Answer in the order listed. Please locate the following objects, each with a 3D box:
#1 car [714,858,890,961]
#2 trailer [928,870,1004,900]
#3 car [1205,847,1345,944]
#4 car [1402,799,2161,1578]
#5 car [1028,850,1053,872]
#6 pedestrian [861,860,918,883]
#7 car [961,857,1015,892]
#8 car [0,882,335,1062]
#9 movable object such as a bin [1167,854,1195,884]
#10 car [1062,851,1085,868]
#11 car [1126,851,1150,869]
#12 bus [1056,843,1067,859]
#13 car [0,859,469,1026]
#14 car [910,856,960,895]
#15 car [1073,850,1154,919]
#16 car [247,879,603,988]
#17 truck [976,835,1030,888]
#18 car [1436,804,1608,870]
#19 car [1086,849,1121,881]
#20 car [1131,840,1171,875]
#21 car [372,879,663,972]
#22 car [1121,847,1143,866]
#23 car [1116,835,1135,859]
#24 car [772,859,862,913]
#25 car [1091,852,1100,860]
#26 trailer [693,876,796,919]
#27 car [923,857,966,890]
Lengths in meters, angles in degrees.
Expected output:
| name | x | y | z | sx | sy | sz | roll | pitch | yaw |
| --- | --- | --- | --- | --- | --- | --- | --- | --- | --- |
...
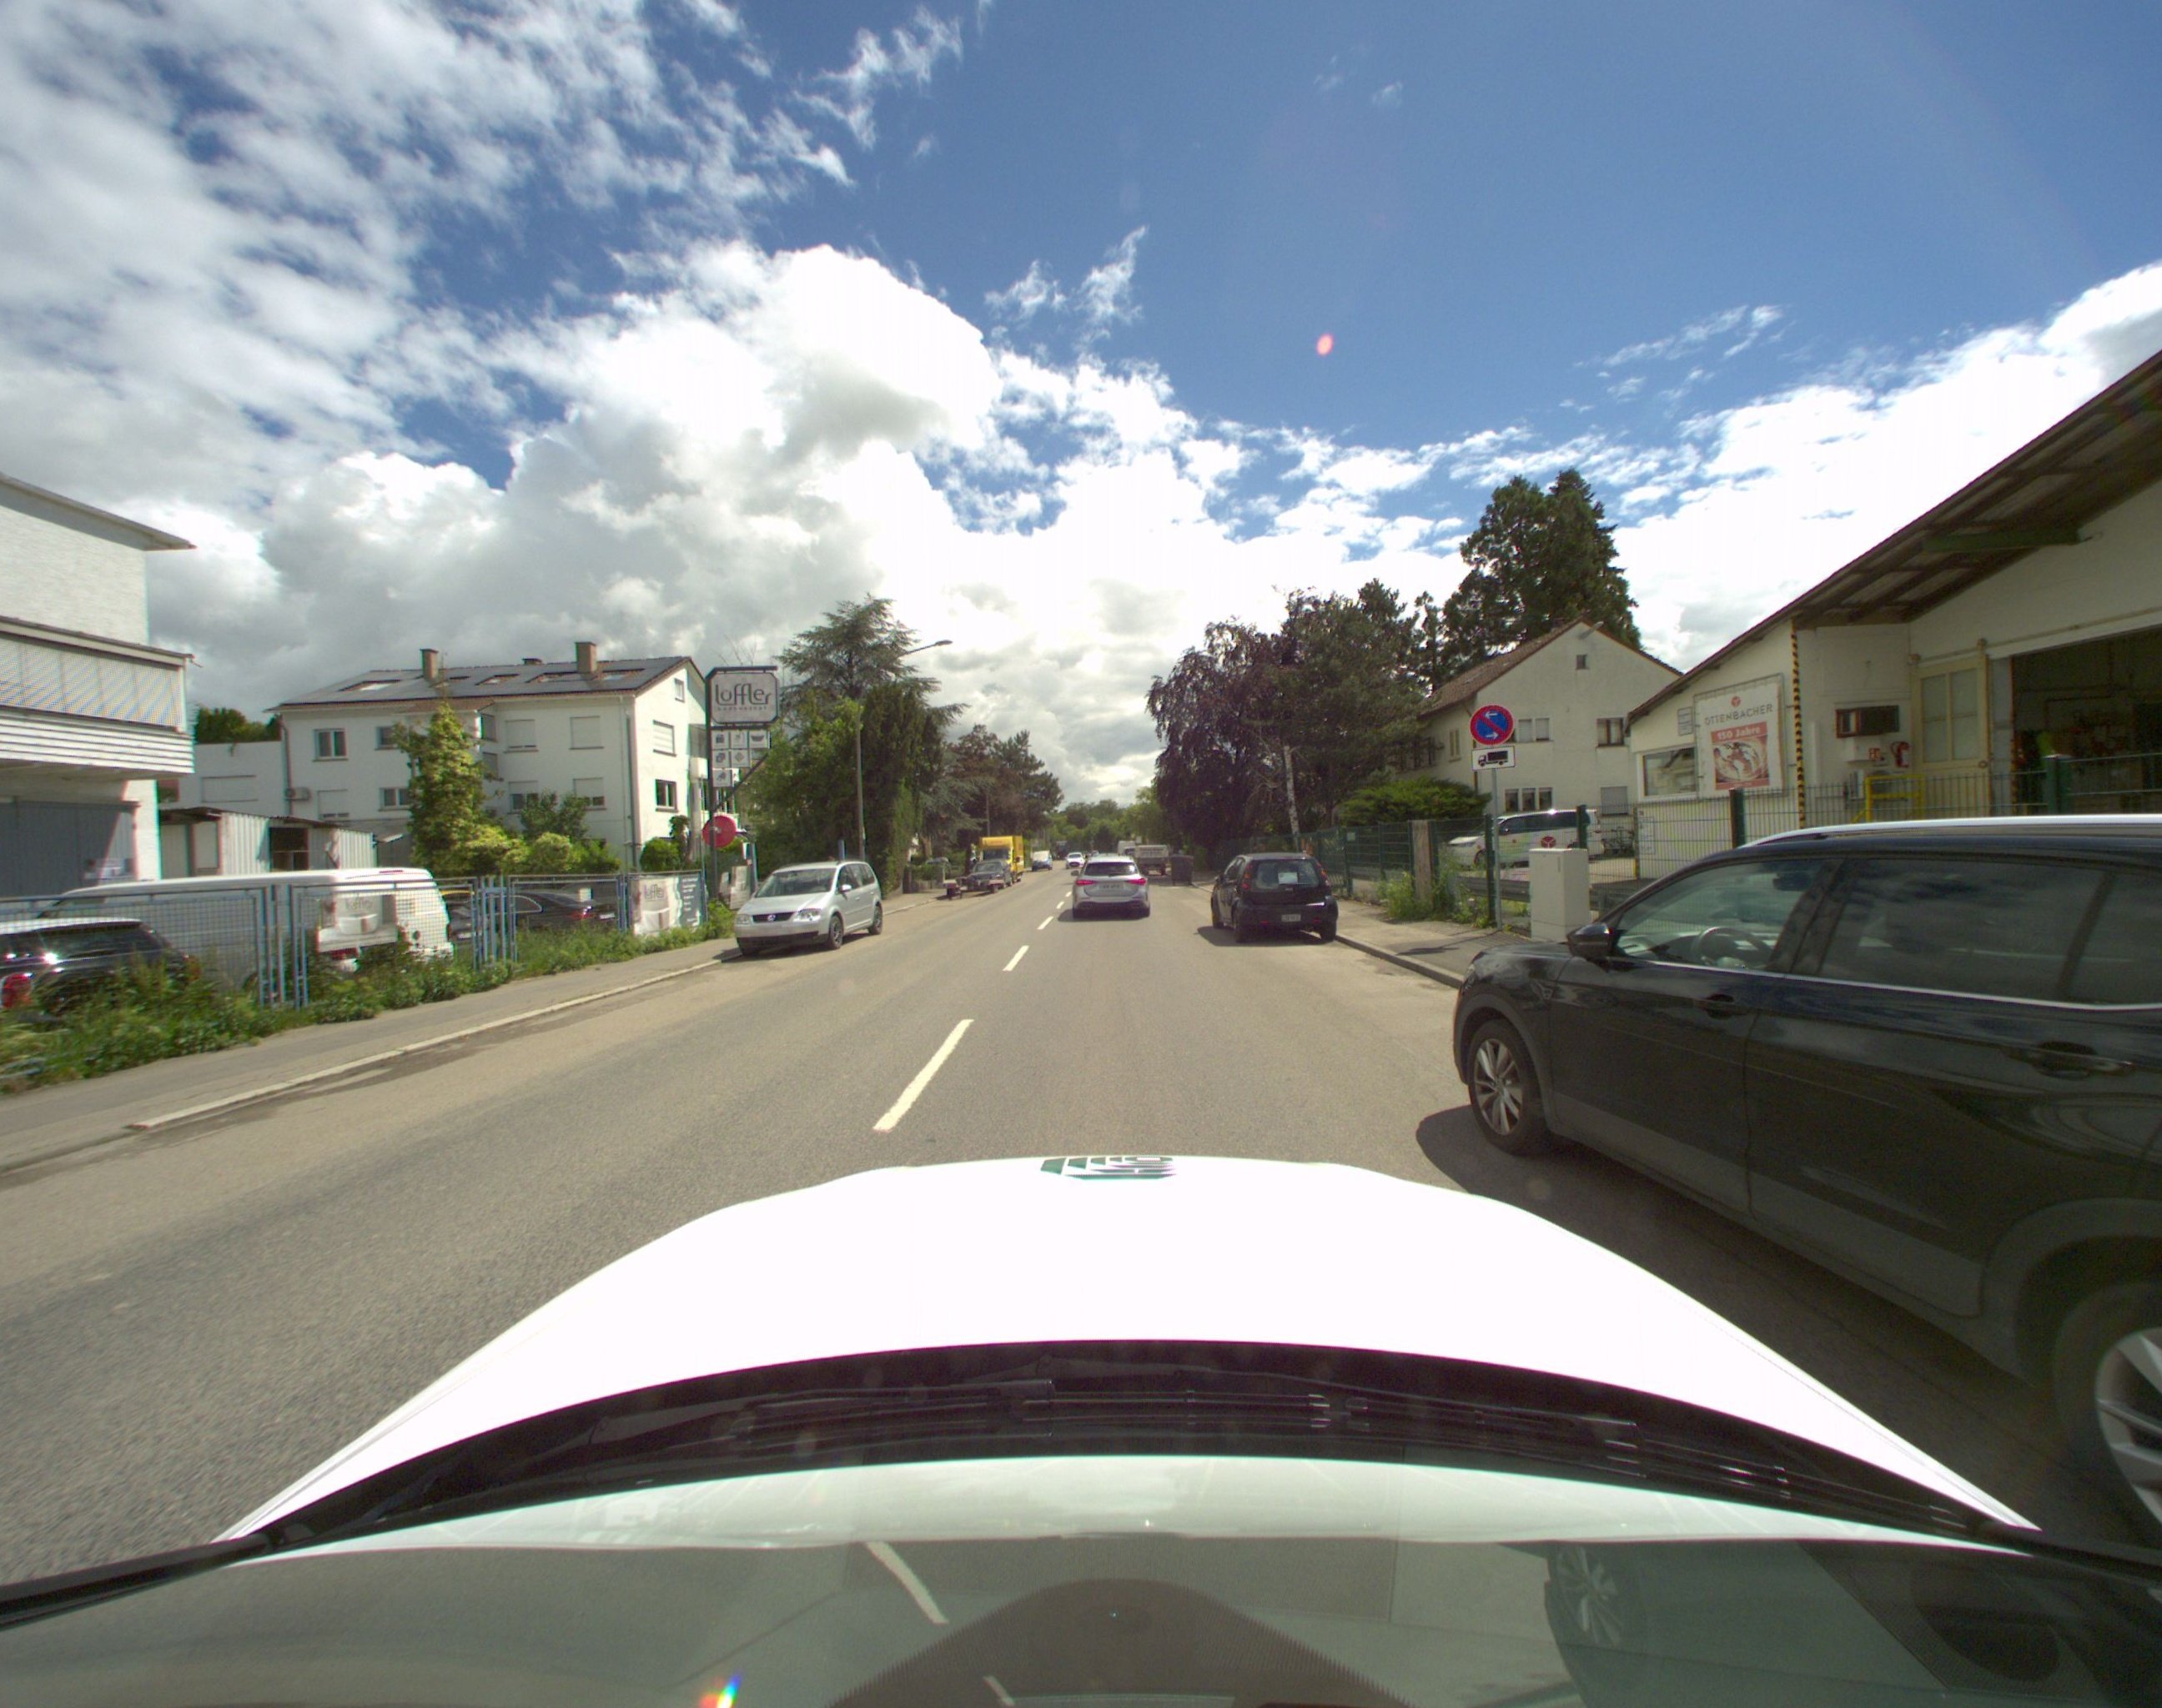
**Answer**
| name | x | y | z | sx | sy | sz | roll | pitch | yaw |
| --- | --- | --- | --- | --- | --- | --- | --- | --- | --- |
| car | -5.263 | 0.951 | 16.068 | 1.785 | 1.603 | 4.364 | -3 | 0 | 1 |
| trailer | -4.637 | 1.240 | 33.827 | 2.221 | 0.925 | 5.948 | -2 | 0 | 0 |
| car | 3.355 | 0.648 | 14.771 | 1.683 | 1.450 | 3.850 | -3 | 0 | 2 |
| car | 2.913 | 0.628 | 2.982 | 1.685 | 1.552 | 4.082 | -3 | 0 | -2 |
| car | -3.830 | 0.666 | 77.842 | 1.927 | 1.918 | 4.364 | -3 | 0 | 1 |
| pedestrian | -14.806 | 1.355 | 63.247 | 3.978 | 1.706 | 1.998 | 0 | 0 | -3 |
| car | -4.545 | 0.996 | 40.618 | 2.068 | 1.477 | 4.456 | -3 | 0 | 0 |
| car | -10.743 | 1.197 | 8.377 | 4.265 | 1.567 | 1.991 | -3 | -3 | 0 |
| movable object such as a bin | 4.384 | 0.644 | 35.691 | 1.080 | 1.271 | 1.380 | 0 | 0 | 2 |
| car | -0.680 | 0.498 | 78.394 | 1.927 | 1.492 | 4.364 | -3 | 0 | 1 |
| car | 4.965 | 0.556 | 71.281 | 1.779 | 1.484 | 4.315 | -1 | -1 | 0 |
| bus | -4.223 | -0.711 | 175.844 | 1.989 | 3.364 | 6.973 | 0 | 0 | -4 |
| car | -11.147 | 1.128 | 10.970 | 4.265 | 1.836 | 1.991 | -3 | -3 | 0 |
| car | -8.124 | 1.157 | 45.758 | 1.986 | 2.013 | 4.001 | 0 | 0 | 1 |
| car | 0.722 | 0.700 | 20.303 | 1.779 | 1.484 | 4.315 | -1 | -1 | 0 |
| car | -10.729 | 1.279 | 13.597 | 4.265 | 1.485 | 1.991 | -3 | -3 | 0 |
| truck | -4.545 | 0.380 | 48.530 | 2.067 | 2.814 | 7.082 | -3 | 0 | 3 |
| car | 15.725 | -0.602 | 29.263 | 4.994 | 1.929 | 2.002 | -4 | 0 | 4 |
| car | 1.142 | 0.526 | 43.173 | 1.750 | 1.558 | 4.000 | -2 | 0 | 0 |
| car | 4.350 | 0.205 | 51.227 | 2.136 | 1.984 | 5.263 | -3 | 0 | 2 |
| car | -10.830 | 1.361 | 15.910 | 4.265 | 1.485 | 1.991 | -3 | -3 | 0 |
| car | 4.774 | 0.237 | 76.448 | 1.779 | 1.715 | 4.315 | -1 | -1 | 0 |
| car | 4.818 | -0.750 | 88.915 | 1.779 | 2.518 | 4.315 | -1 | -1 | 0 |
| car | -9.415 | 1.090 | 29.402 | 1.989 | 1.657 | 3.996 | -3 | 0 | -3 |
| car | 3.127 | 0.403 | 176.908 | 1.752 | 1.558 | 3.996 | -2 | 0 | -3 |
| trailer | -11.987 | 1.522 | 29.359 | 1.853 | 1.181 | 4.375 | -3 | 0 | -1 |
| car | -8.724 | 1.216 | 52.350 | 1.986 | 2.013 | 4.001 | 0 | 0 | 1 |
